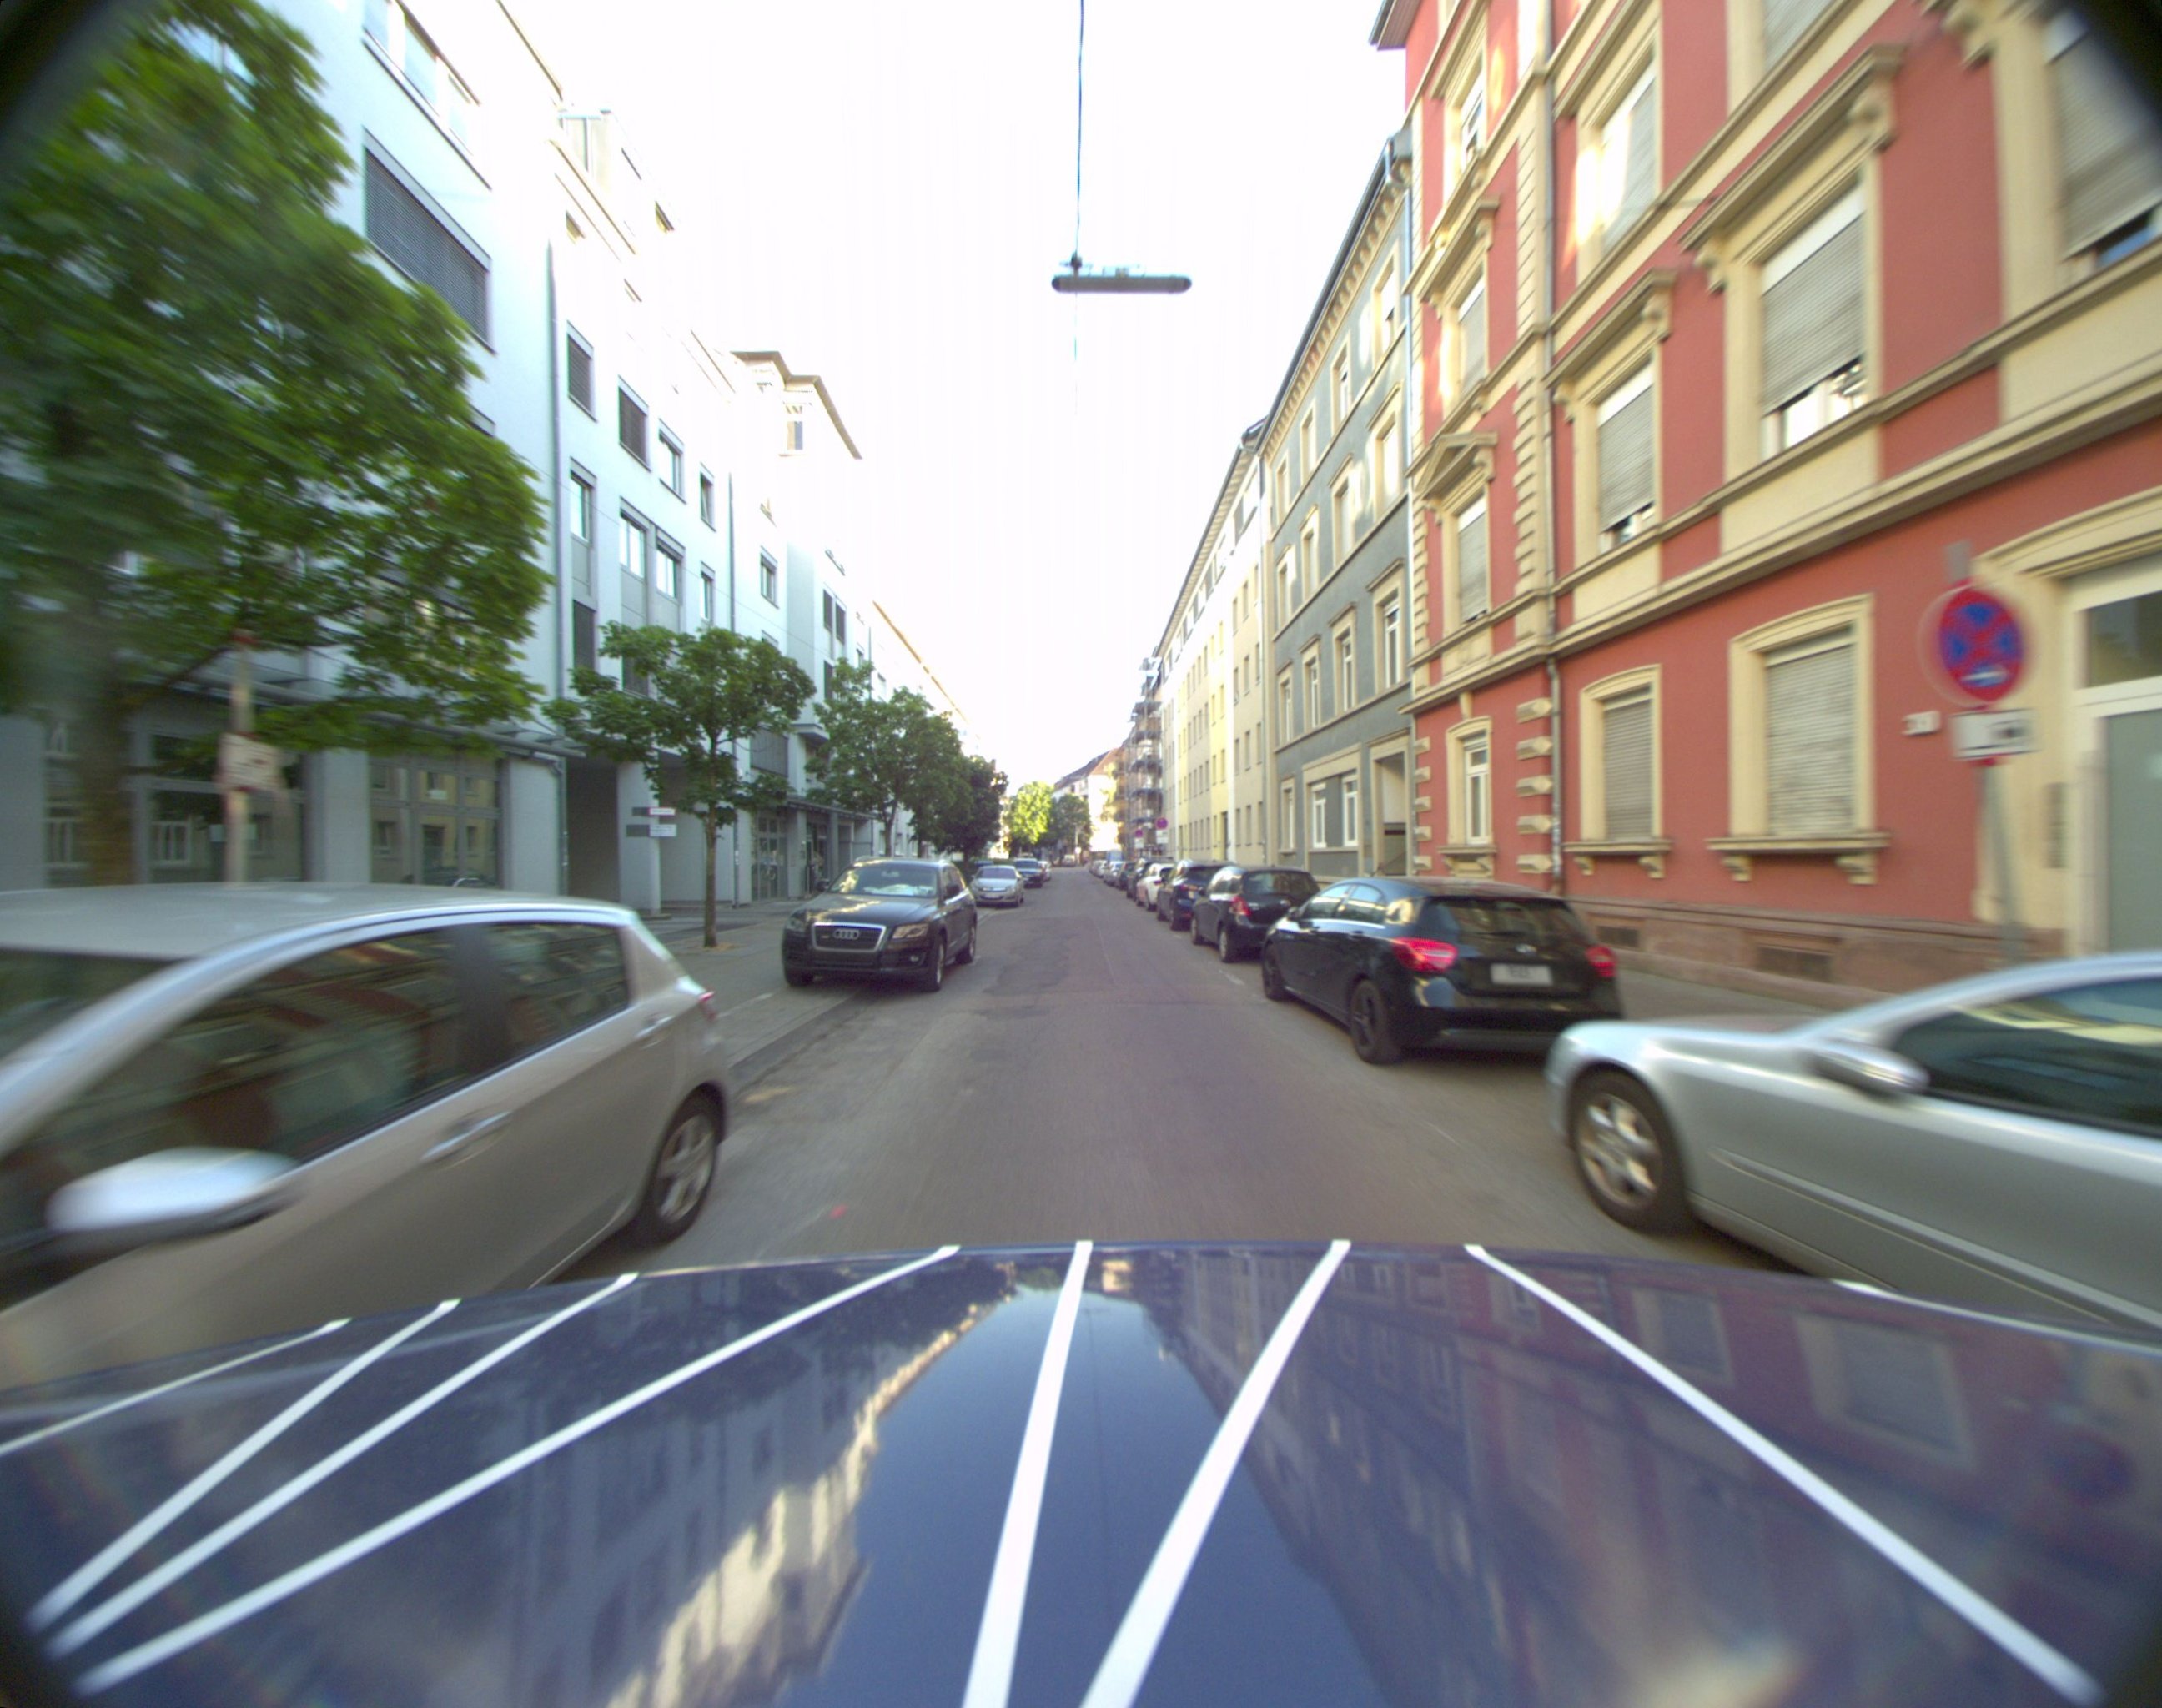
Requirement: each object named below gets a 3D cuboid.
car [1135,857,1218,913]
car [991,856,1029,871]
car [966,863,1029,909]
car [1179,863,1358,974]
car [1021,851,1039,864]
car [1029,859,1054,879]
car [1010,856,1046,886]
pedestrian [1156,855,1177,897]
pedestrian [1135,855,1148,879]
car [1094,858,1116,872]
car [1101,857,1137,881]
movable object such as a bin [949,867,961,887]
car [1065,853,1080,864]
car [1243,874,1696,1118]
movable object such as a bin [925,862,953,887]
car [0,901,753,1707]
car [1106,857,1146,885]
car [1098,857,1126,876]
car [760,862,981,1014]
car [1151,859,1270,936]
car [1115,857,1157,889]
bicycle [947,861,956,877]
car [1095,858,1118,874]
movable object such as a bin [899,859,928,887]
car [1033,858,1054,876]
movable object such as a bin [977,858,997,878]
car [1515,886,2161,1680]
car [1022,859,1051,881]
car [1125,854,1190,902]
[{"bbox_3d":[2.862,0.911,23.771,1.926,1.551,4.266,1,0,-2],"label":"car"},{"bbox_3d":[-7.745,1.064,82.921,3.998,1.556,1.999,1,0,-3],"label":"car"},{"bbox_3d":[-2.887,1.081,27.132,1.768,1.420,4.344,1,0,-1],"label":"car"},{"bbox_3d":[2.975,0.955,13.049,1.906,1.551,4.240,1,0,-2],"label":"car"},{"bbox_3d":[-9.183,0.554,135.364,2.163,2.270,6.200,1,0,-14],"label":"car"},{"bbox_3d":[-3.051,1.146,59.338,1.681,1.411,4.135,1,0,-1],"label":"car"},{"bbox_3d":[-3.008,0.928,43.782,1.876,1.626,4.721,1,0,-2],"label":"car"},{"bbox_3d":[3.777,0.961,33.685,0.791,1.780,1.092,1,0,-1],"label":"pedestrian"},{"bbox_3d":[4.503,0.981,56.465,0.791,1.750,1.092,1,0,-1],"label":"pedestrian"},{"bbox_3d":[2.499,1.112,79.452,1.999,1.423,3.999,1,0,-2],"label":"car"},{"bbox_3d":[2.394,0.938,49.427,1.928,1.479,4.616,1,0,-2],"label":"car"},{"bbox_3d":[-6.577,1.199,39.799,0.529,1.065,0.625,0,0,-1],"label":"movable object such as a bin"},{"bbox_3d":[-1.419,0.665,126.706,2.081,1.760,4.215,1,0,-7],"label":"car"},{"bbox_3d":[2.989,0.983,7.073,1.926,1.475,4.266,1,0,-2],"label":"car"},{"bbox_3d":[-7.488,1.064,40.126,1.264,1.313,1.139,0,0,-1],"label":"movable object such as a bin"},{"bbox_3d":[-2.474,0.999,1.728,1.680,1.516,3.970,1,0,1],"label":"car"},{"bbox_3d":[2.565,0.935,44.066,1.928,1.479,4.616,1,0,-1],"label":"car"},{"bbox_3d":[2.578,1.044,63.886,1.999,1.496,3.999,1,0,-2],"label":"car"},{"bbox_3d":[-2.626,0.957,10.661,1.890,1.613,4.434,1,0,-1],"label":"car"},{"bbox_3d":[2.879,0.915,17.868,1.926,1.551,4.266,1,0,-2],"label":"car"},{"bbox_3d":[2.766,0.932,39.212,1.783,1.479,4.420,1,0,-1],"label":"car"},{"bbox_3d":[-9.266,1.052,54.388,0.602,1.084,1.738,1,0,-11],"label":"bicycle"},{"bbox_3d":[2.441,1.130,74.029,1.999,1.423,3.999,1,0,-2],"label":"car"},{"bbox_3d":[-8.792,1.003,39.859,1.264,1.428,1.139,0,0,-1],"label":"movable object such as a bin"},{"bbox_3d":[-3.180,1.096,65.526,1.681,1.411,4.135,1,0,-1],"label":"car"},{"bbox_3d":[-6.760,0.997,54.576,1.287,1.428,1.223,0,0,-1],"label":"movable object such as a bin"},{"bbox_3d":[3.192,0.940,1.674,1.926,1.551,4.266,1,0,-2],"label":"car"},{"bbox_3d":[-3.150,1.120,54.392,1.680,1.474,3.652,1,0,2],"label":"car"},{"bbox_3d":[2.836,0.875,29.151,1.926,1.654,4.468,1,0,-2],"label":"car"}]
